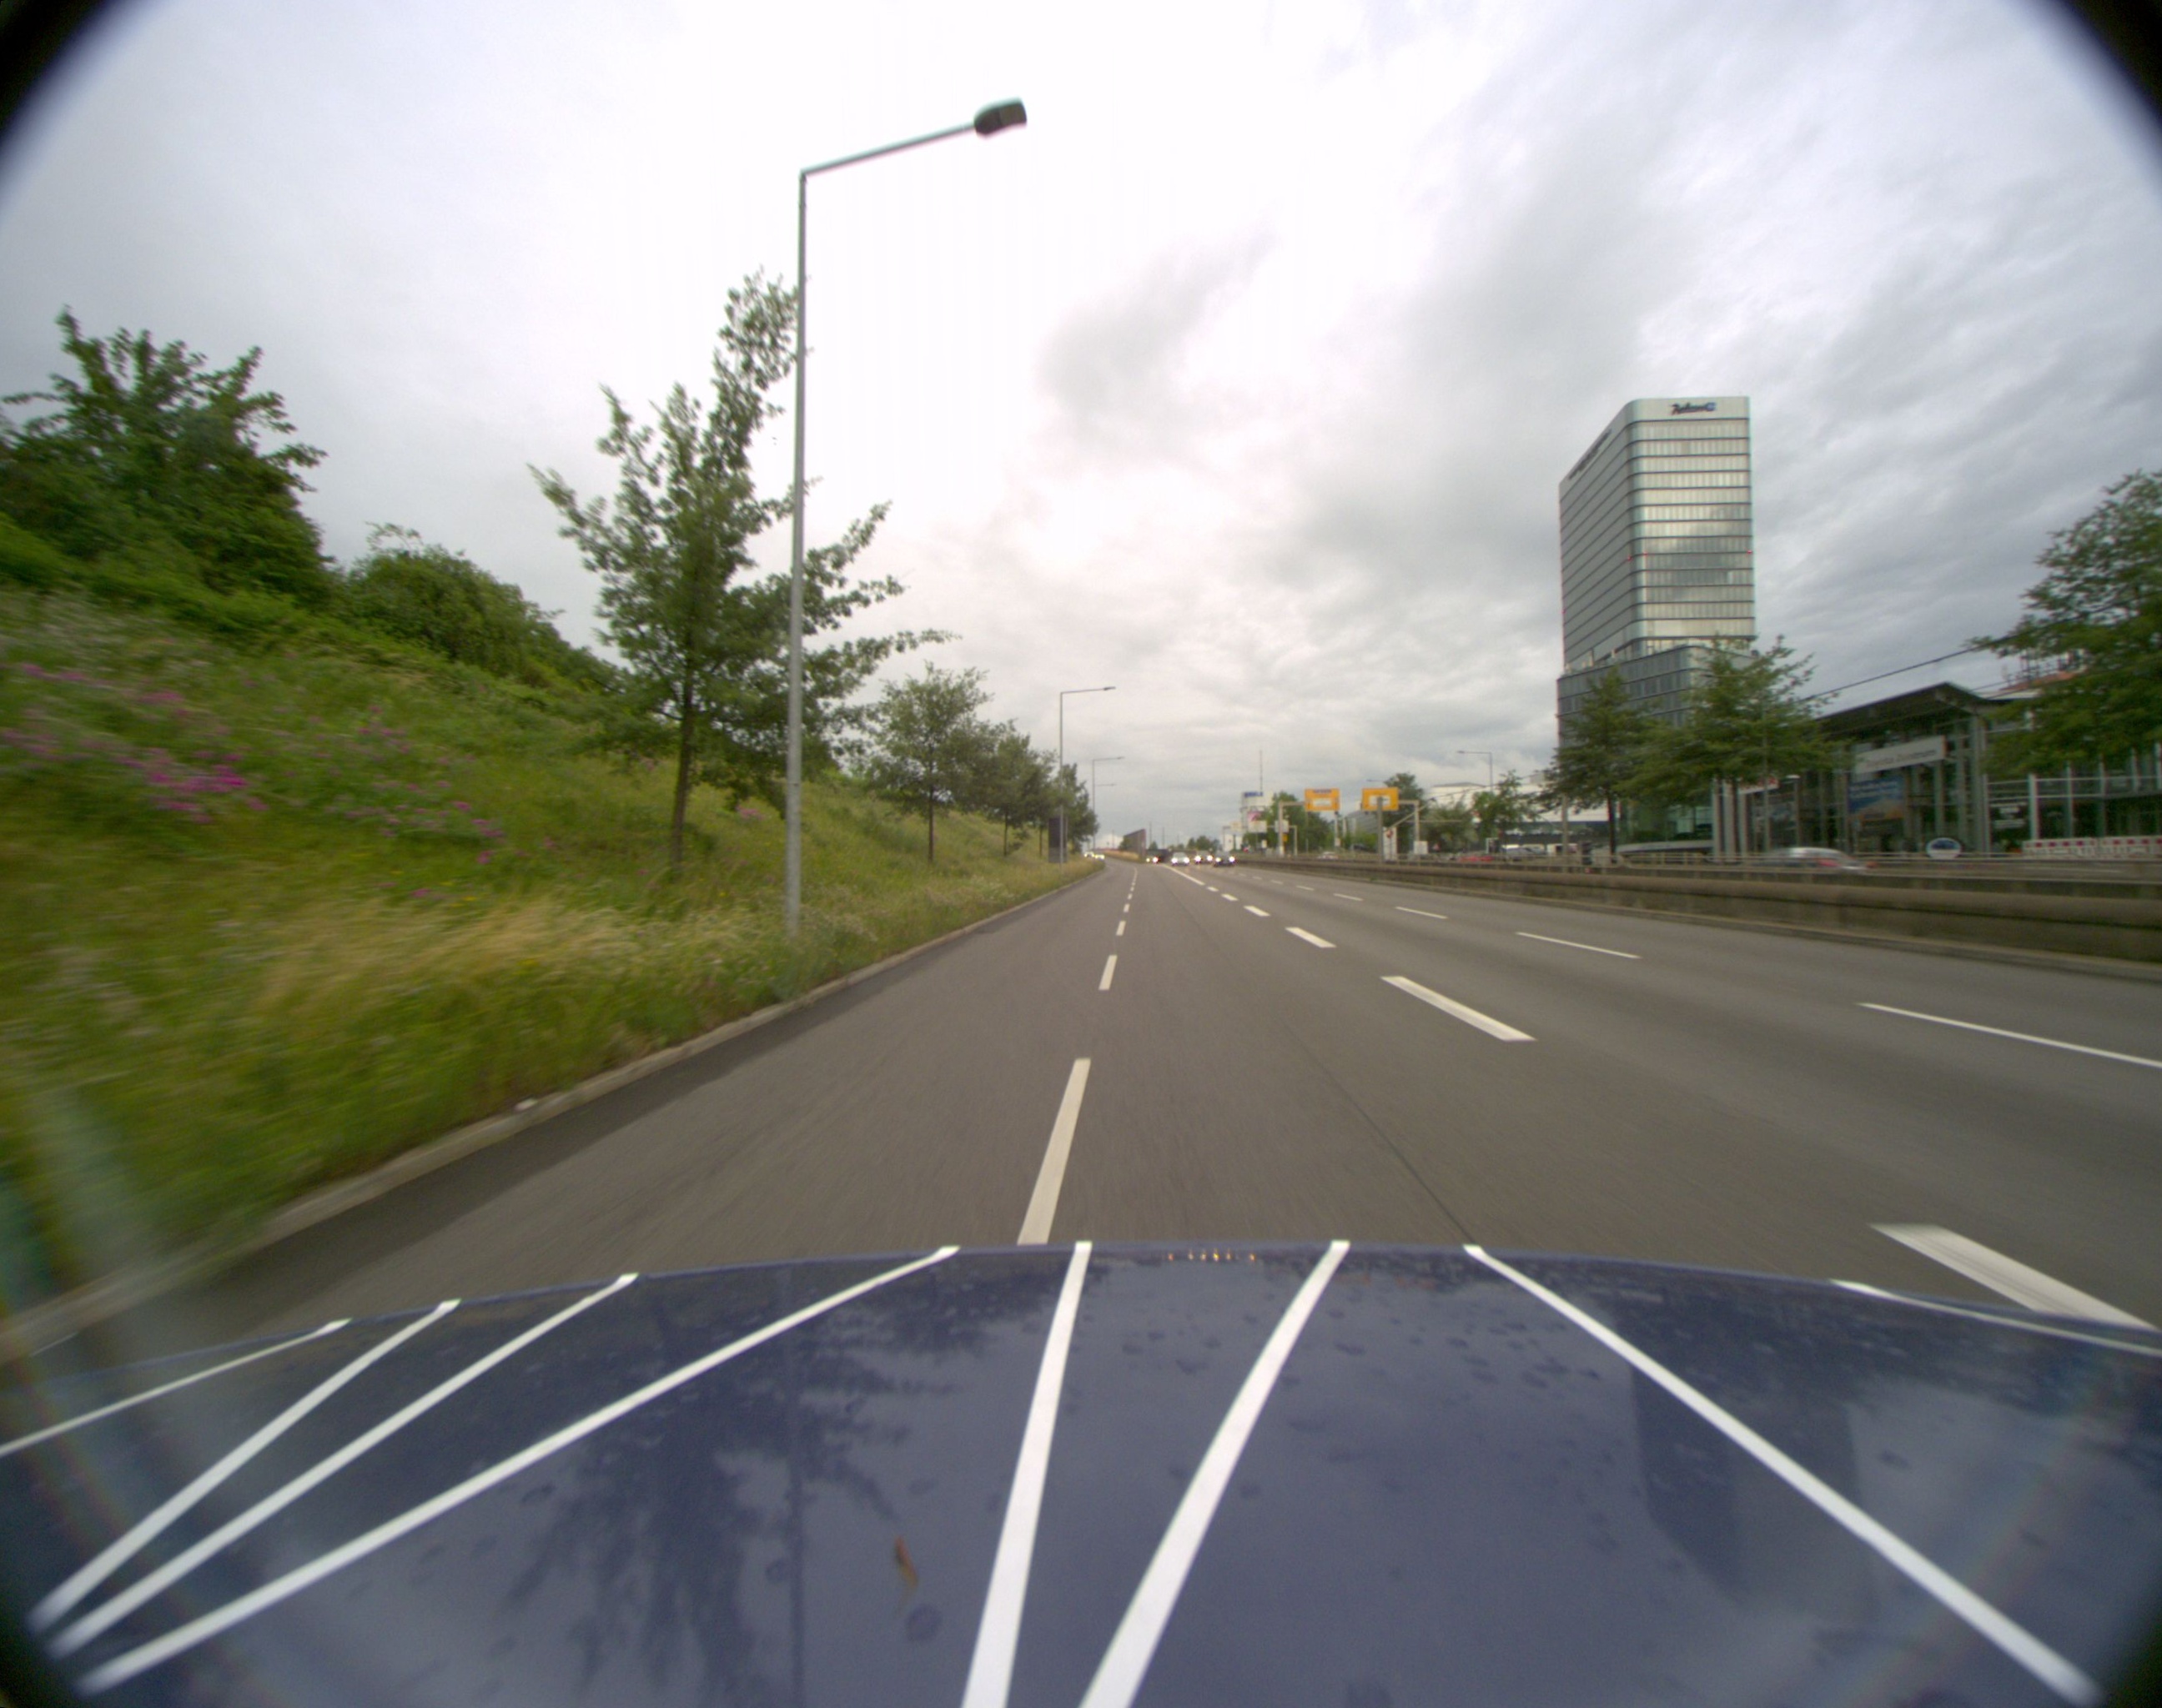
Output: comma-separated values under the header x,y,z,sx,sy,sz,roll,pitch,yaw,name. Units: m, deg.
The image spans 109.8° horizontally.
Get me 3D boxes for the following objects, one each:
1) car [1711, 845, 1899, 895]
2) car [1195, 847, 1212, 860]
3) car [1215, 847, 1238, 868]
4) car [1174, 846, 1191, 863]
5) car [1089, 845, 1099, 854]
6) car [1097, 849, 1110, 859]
x,y,z,sx,sy,sz,roll,pitch,yaw,name
23.215,0.445,24.687,1.793,1.392,4.876,-2,1,6,car
14.919,-0.074,92.809,1.793,1.535,4.379,-2,1,7,car
13.912,0.306,73.015,1.793,1.858,4.379,-2,1,7,car
11.558,0.016,86.567,1.793,1.858,4.379,-2,1,7,car
2.575,-0.900,153.921,1.794,1.621,4.377,-2,1,2,car
3.957,0.039,133.161,1.793,1.621,4.379,-2,1,7,car
